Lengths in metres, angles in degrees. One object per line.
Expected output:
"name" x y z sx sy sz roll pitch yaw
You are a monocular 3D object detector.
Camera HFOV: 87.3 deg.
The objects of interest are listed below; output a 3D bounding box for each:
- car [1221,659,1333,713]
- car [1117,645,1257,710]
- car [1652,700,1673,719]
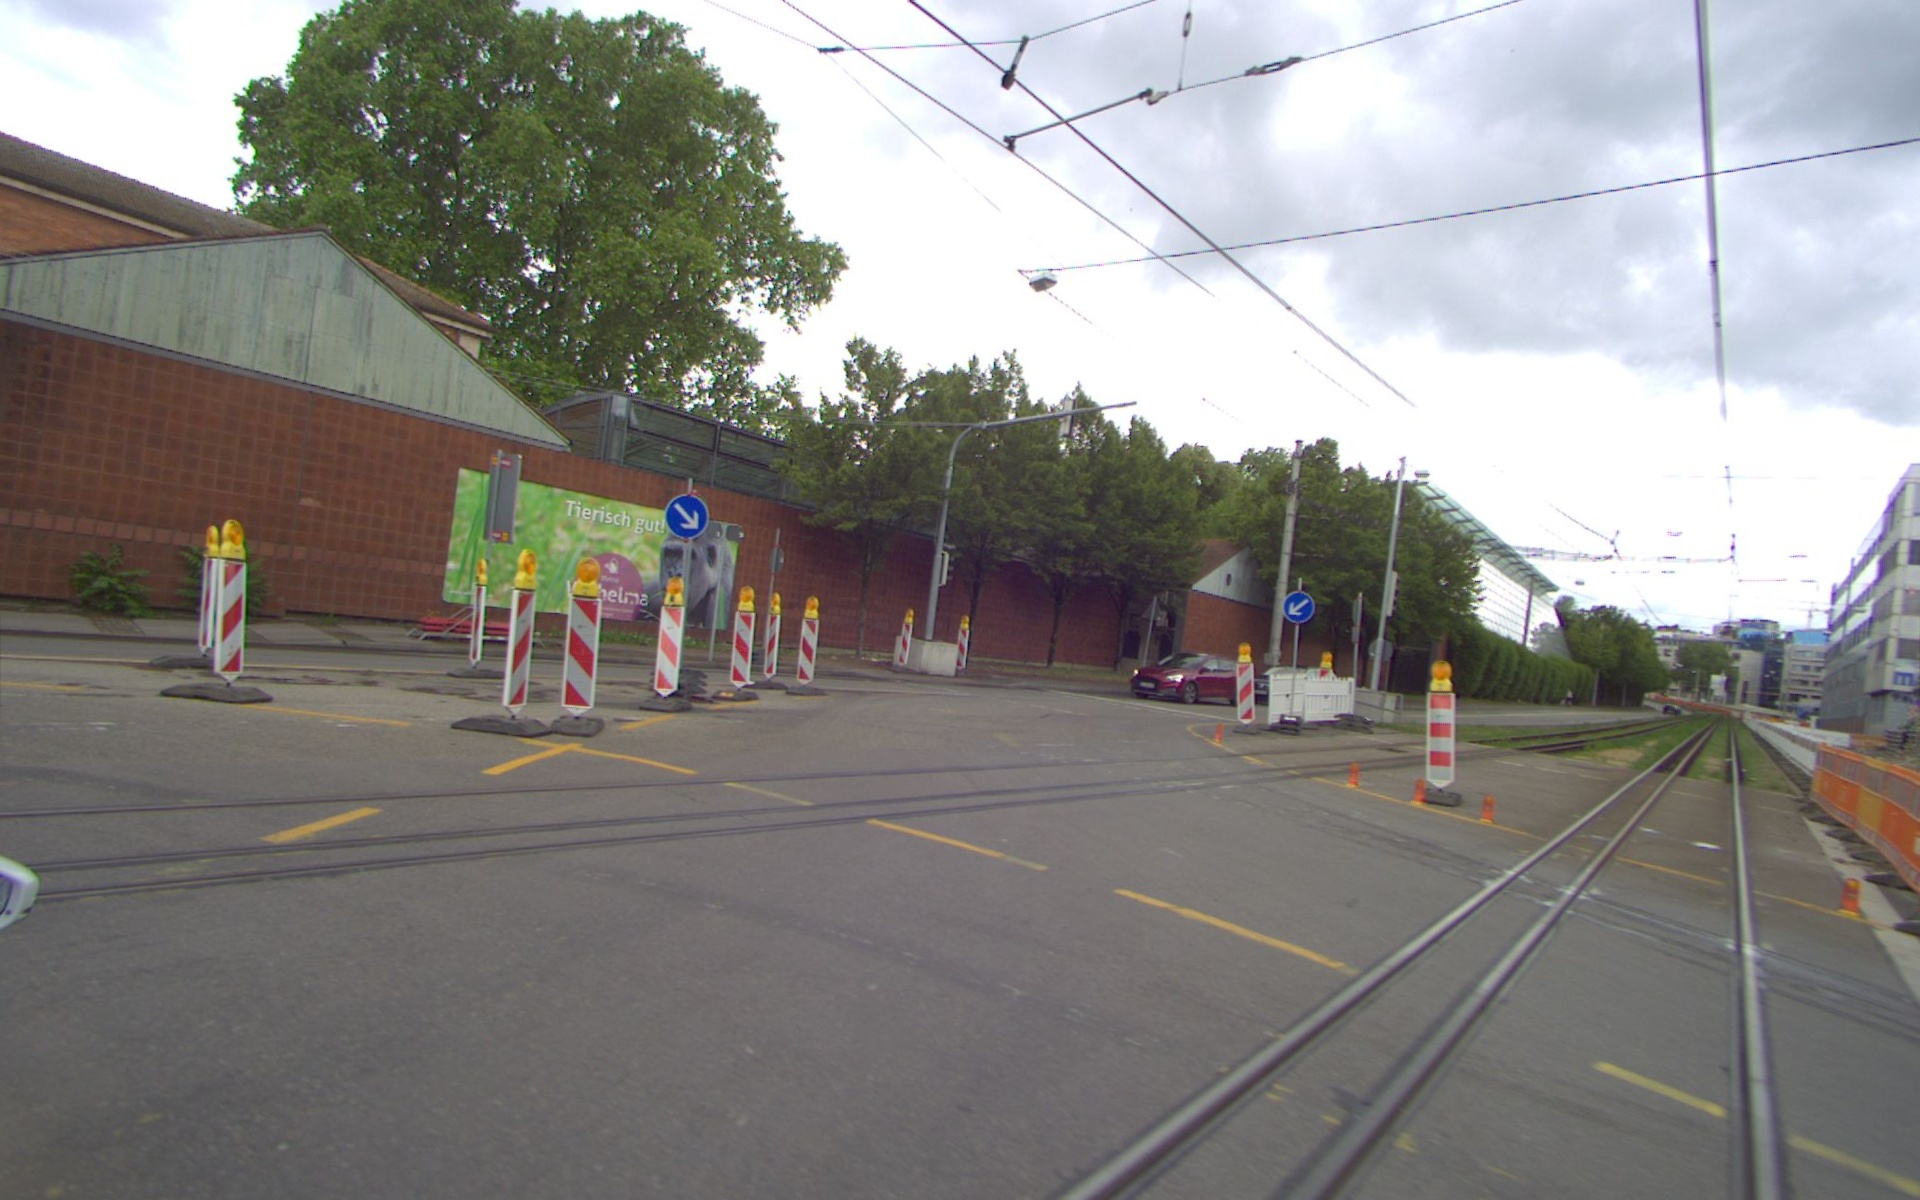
"car" 11.152 3.031 35.226 4.434 1.459 1.781 9 -3 -44
"car" 6.796 2.326 29.820 4.434 1.459 1.857 9 -3 -44
"car" 100.551 15.652 143.969 1.971 2.033 3.993 6 -6 39
